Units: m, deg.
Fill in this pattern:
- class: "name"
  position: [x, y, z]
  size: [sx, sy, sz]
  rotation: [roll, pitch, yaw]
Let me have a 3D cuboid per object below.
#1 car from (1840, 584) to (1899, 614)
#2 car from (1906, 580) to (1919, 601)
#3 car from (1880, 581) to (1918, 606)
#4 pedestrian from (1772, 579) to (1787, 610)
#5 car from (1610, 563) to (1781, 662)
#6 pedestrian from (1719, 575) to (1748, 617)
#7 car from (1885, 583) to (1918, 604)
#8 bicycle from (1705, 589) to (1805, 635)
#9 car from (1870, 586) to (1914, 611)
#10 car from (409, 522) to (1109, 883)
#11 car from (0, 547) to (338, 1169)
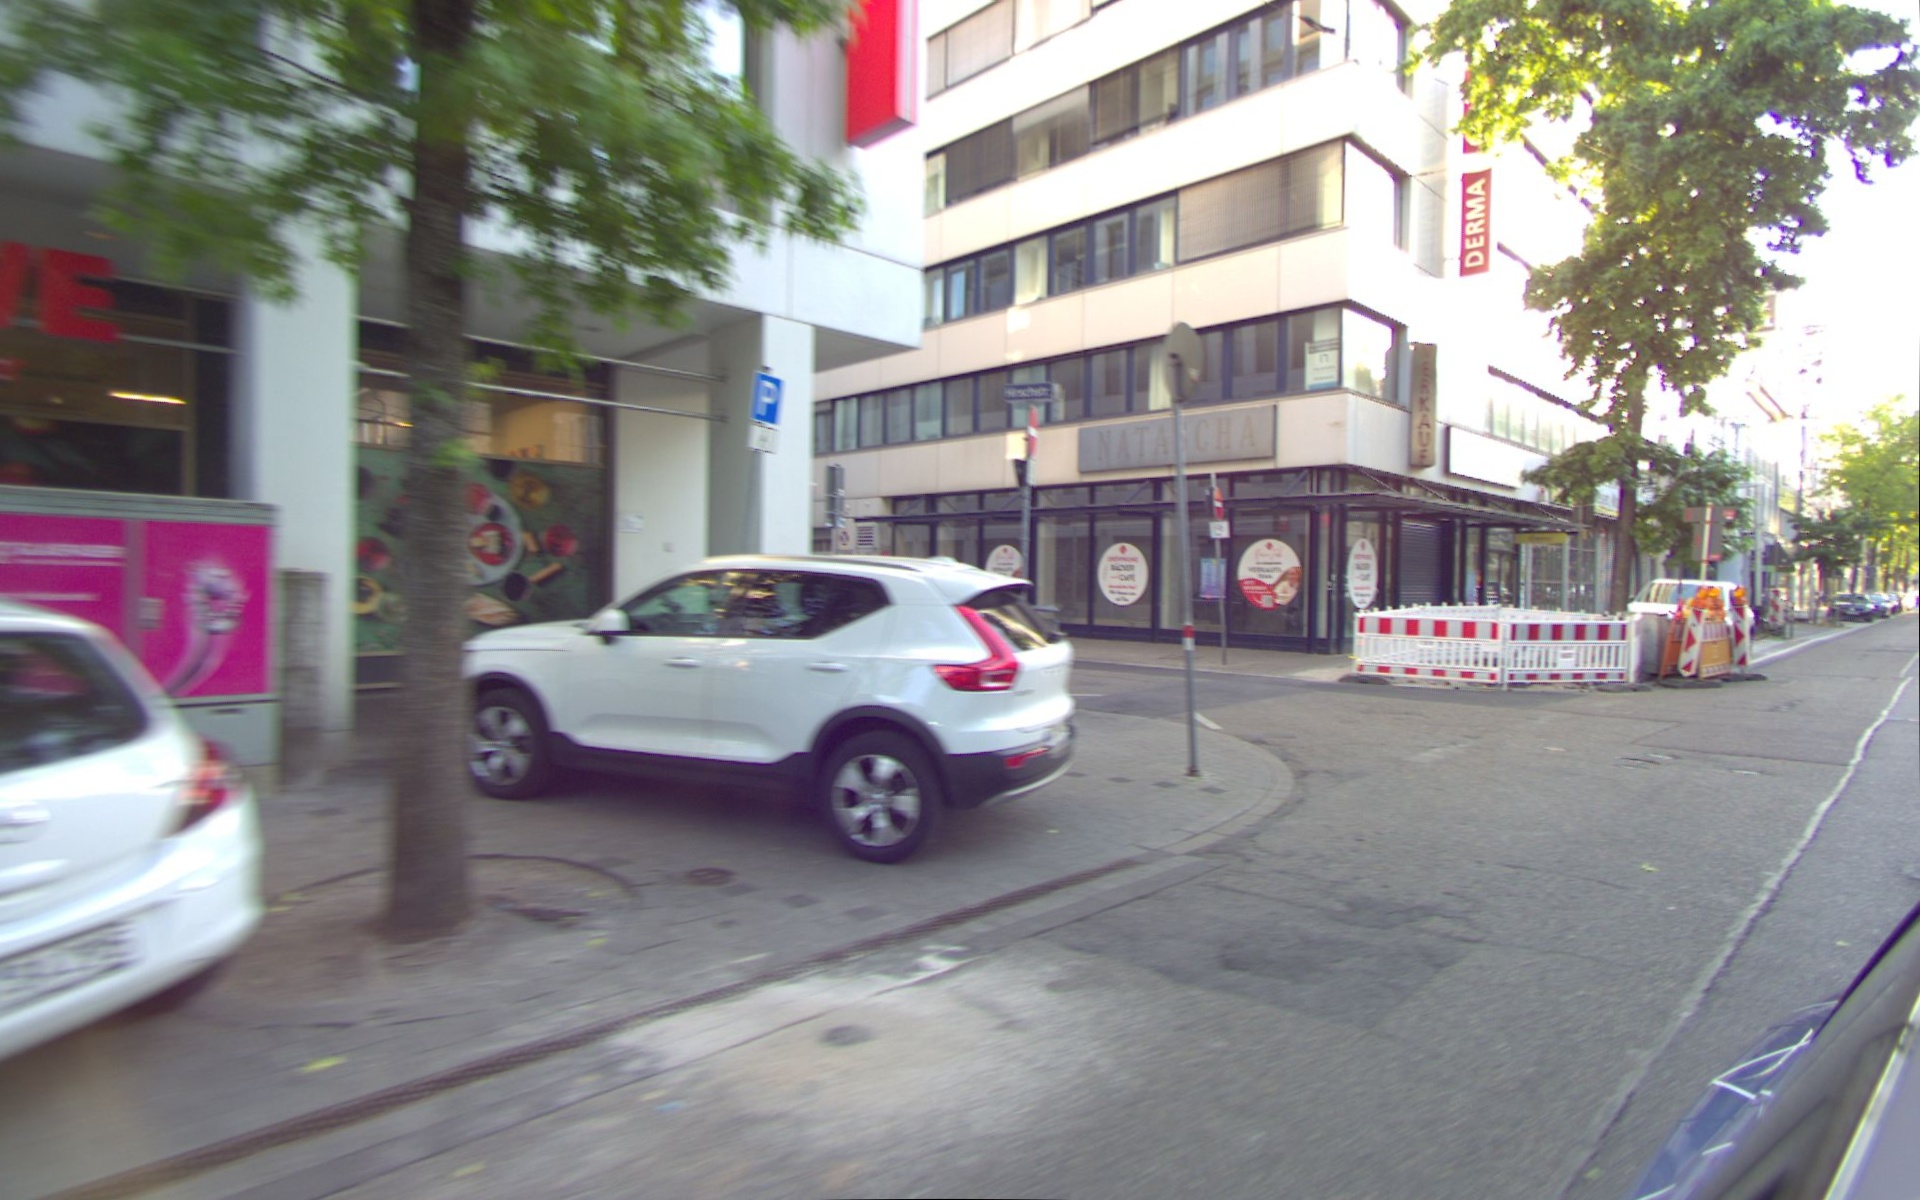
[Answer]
- class: "car"
  position: [47.151, -0.070, 52.451]
  size: [4.038, 1.379, 1.999]
  rotation: [-1, 4, -45]
- class: "car"
  position: [81.148, -0.809, 85.384]
  size: [4.038, 1.759, 1.735]
  rotation: [-1, 2, -45]
- class: "car"
  position: [65.954, -0.484, 71.086]
  size: [1.897, 1.713, 4.042]
  rotation: [2, 2, 43]
- class: "pedestrian"
  position: [42.649, -0.297, 52.660]
  size: [0.736, 1.566, 0.476]
  rotation: [-1, 2, -44]
- class: "car"
  position: [15.668, 0.209, 21.473]
  size: [4.591, 1.792, 1.997]
  rotation: [0, 4, -43]
- class: "pedestrian"
  position: [30.152, -0.157, 39.470]
  size: [0.825, 1.577, 0.729]
  rotation: [-1, 3, -42]
- class: "car"
  position: [69.712, -0.503, 74.890]
  size: [1.682, 1.498, 3.785]
  rotation: [2, 2, 44]
- class: "bicycle"
  position: [23.555, 0.330, 30.040]
  size: [0.747, 1.172, 2.166]
  rotation: [-1, 5, -38]
- class: "car"
  position: [54.163, -0.118, 58.799]
  size: [1.735, 1.335, 4.039]
  rotation: [5, 4, 44]
- class: "car"
  position: [-1.320, 0.409, 6.770]
  size: [4.223, 1.692, 1.939]
  rotation: [4, 4, 22]
- class: "car"
  position: [-4.318, 0.581, 3.239]
  size: [4.013, 1.519, 1.787]
  rotation: [3, 4, 17]
